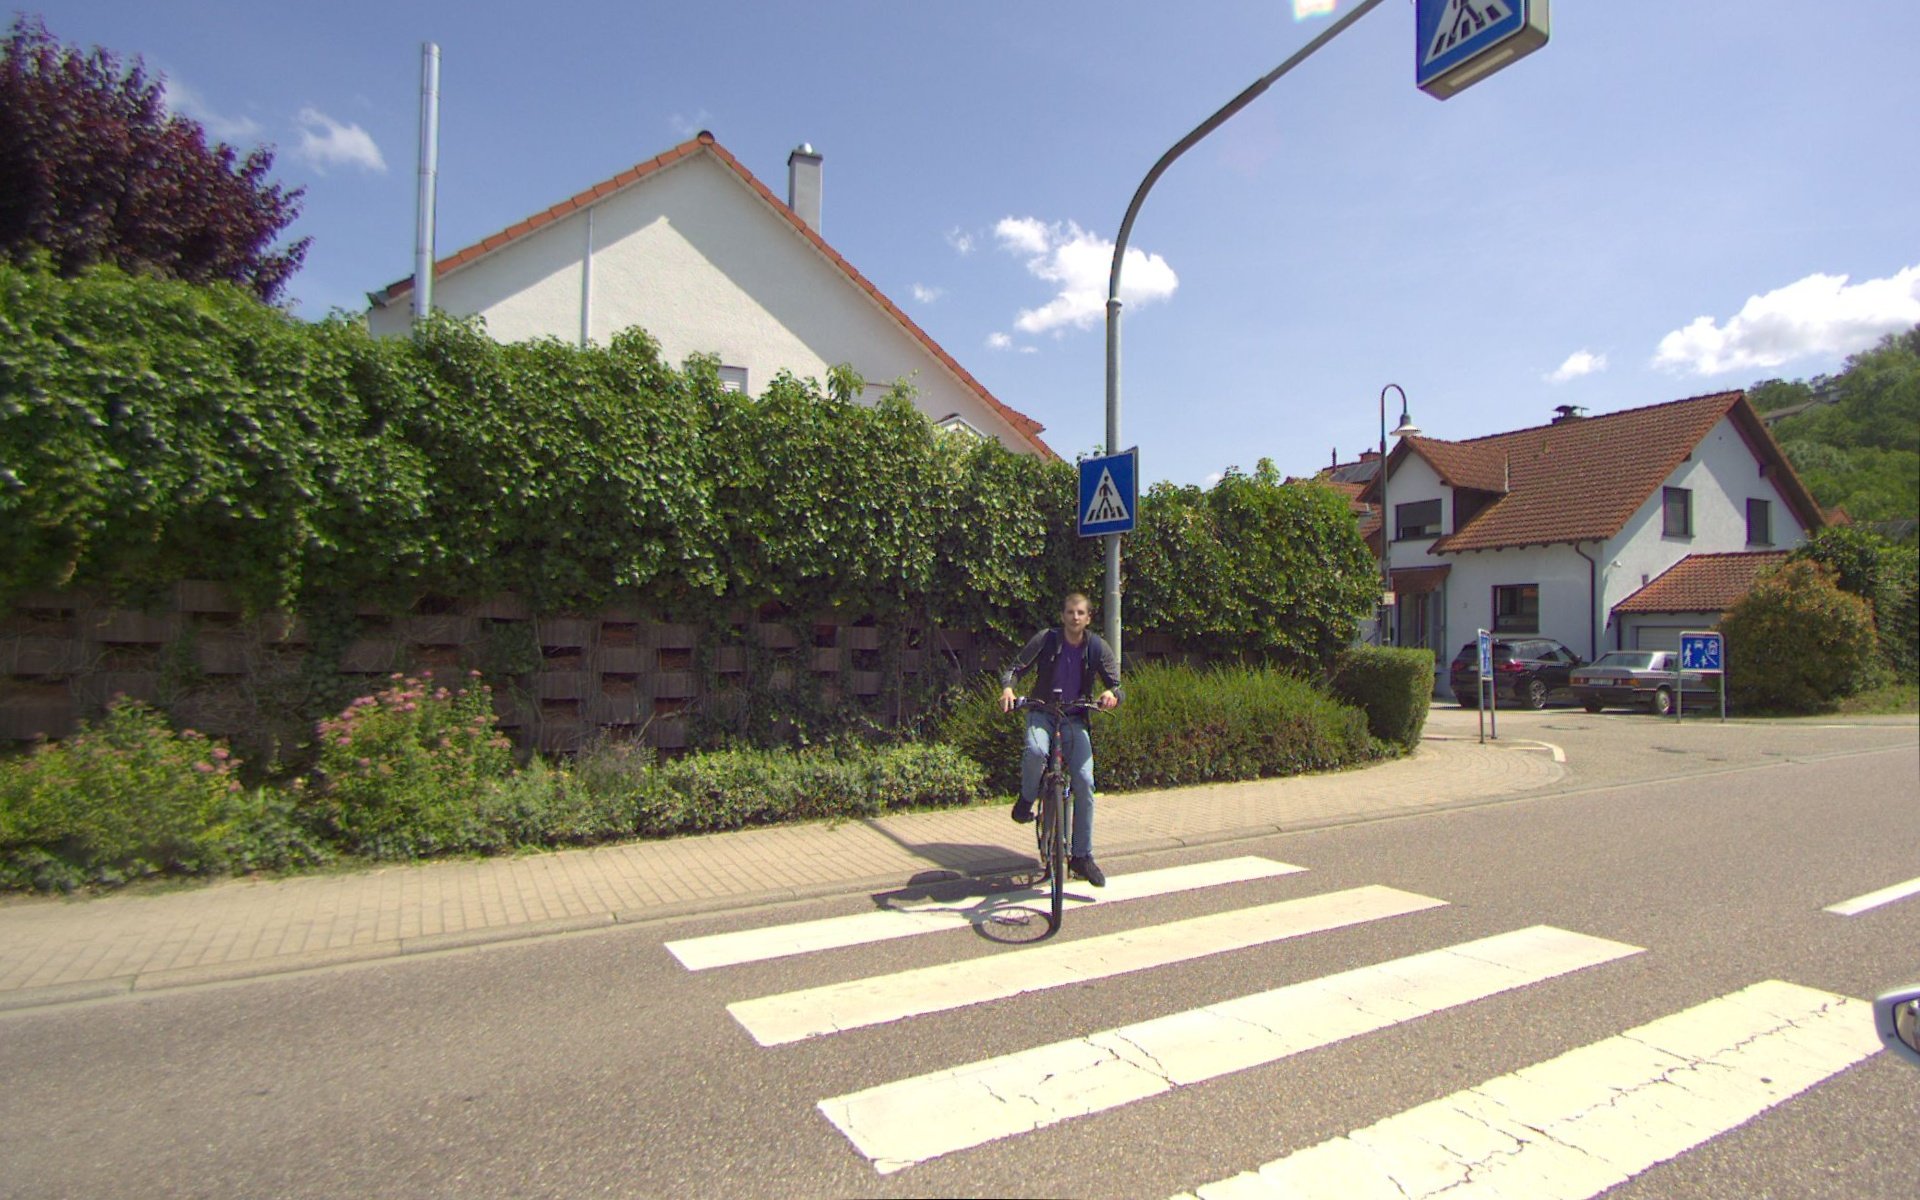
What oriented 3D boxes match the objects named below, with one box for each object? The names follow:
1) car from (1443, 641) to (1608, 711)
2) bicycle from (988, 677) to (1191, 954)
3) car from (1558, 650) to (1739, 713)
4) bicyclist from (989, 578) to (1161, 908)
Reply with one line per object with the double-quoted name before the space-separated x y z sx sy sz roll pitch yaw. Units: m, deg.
"car" 13.831 1.806 24.521 3.953 1.570 1.758 1 -3 -30
"bicycle" 0.615 1.045 5.520 0.790 1.180 1.943 0 -2 -2
"car" 15.505 1.795 22.595 3.949 1.302 1.655 1 -4 -27
"bicyclist" 0.597 0.740 5.633 0.790 1.651 1.111 0 -2 -2
